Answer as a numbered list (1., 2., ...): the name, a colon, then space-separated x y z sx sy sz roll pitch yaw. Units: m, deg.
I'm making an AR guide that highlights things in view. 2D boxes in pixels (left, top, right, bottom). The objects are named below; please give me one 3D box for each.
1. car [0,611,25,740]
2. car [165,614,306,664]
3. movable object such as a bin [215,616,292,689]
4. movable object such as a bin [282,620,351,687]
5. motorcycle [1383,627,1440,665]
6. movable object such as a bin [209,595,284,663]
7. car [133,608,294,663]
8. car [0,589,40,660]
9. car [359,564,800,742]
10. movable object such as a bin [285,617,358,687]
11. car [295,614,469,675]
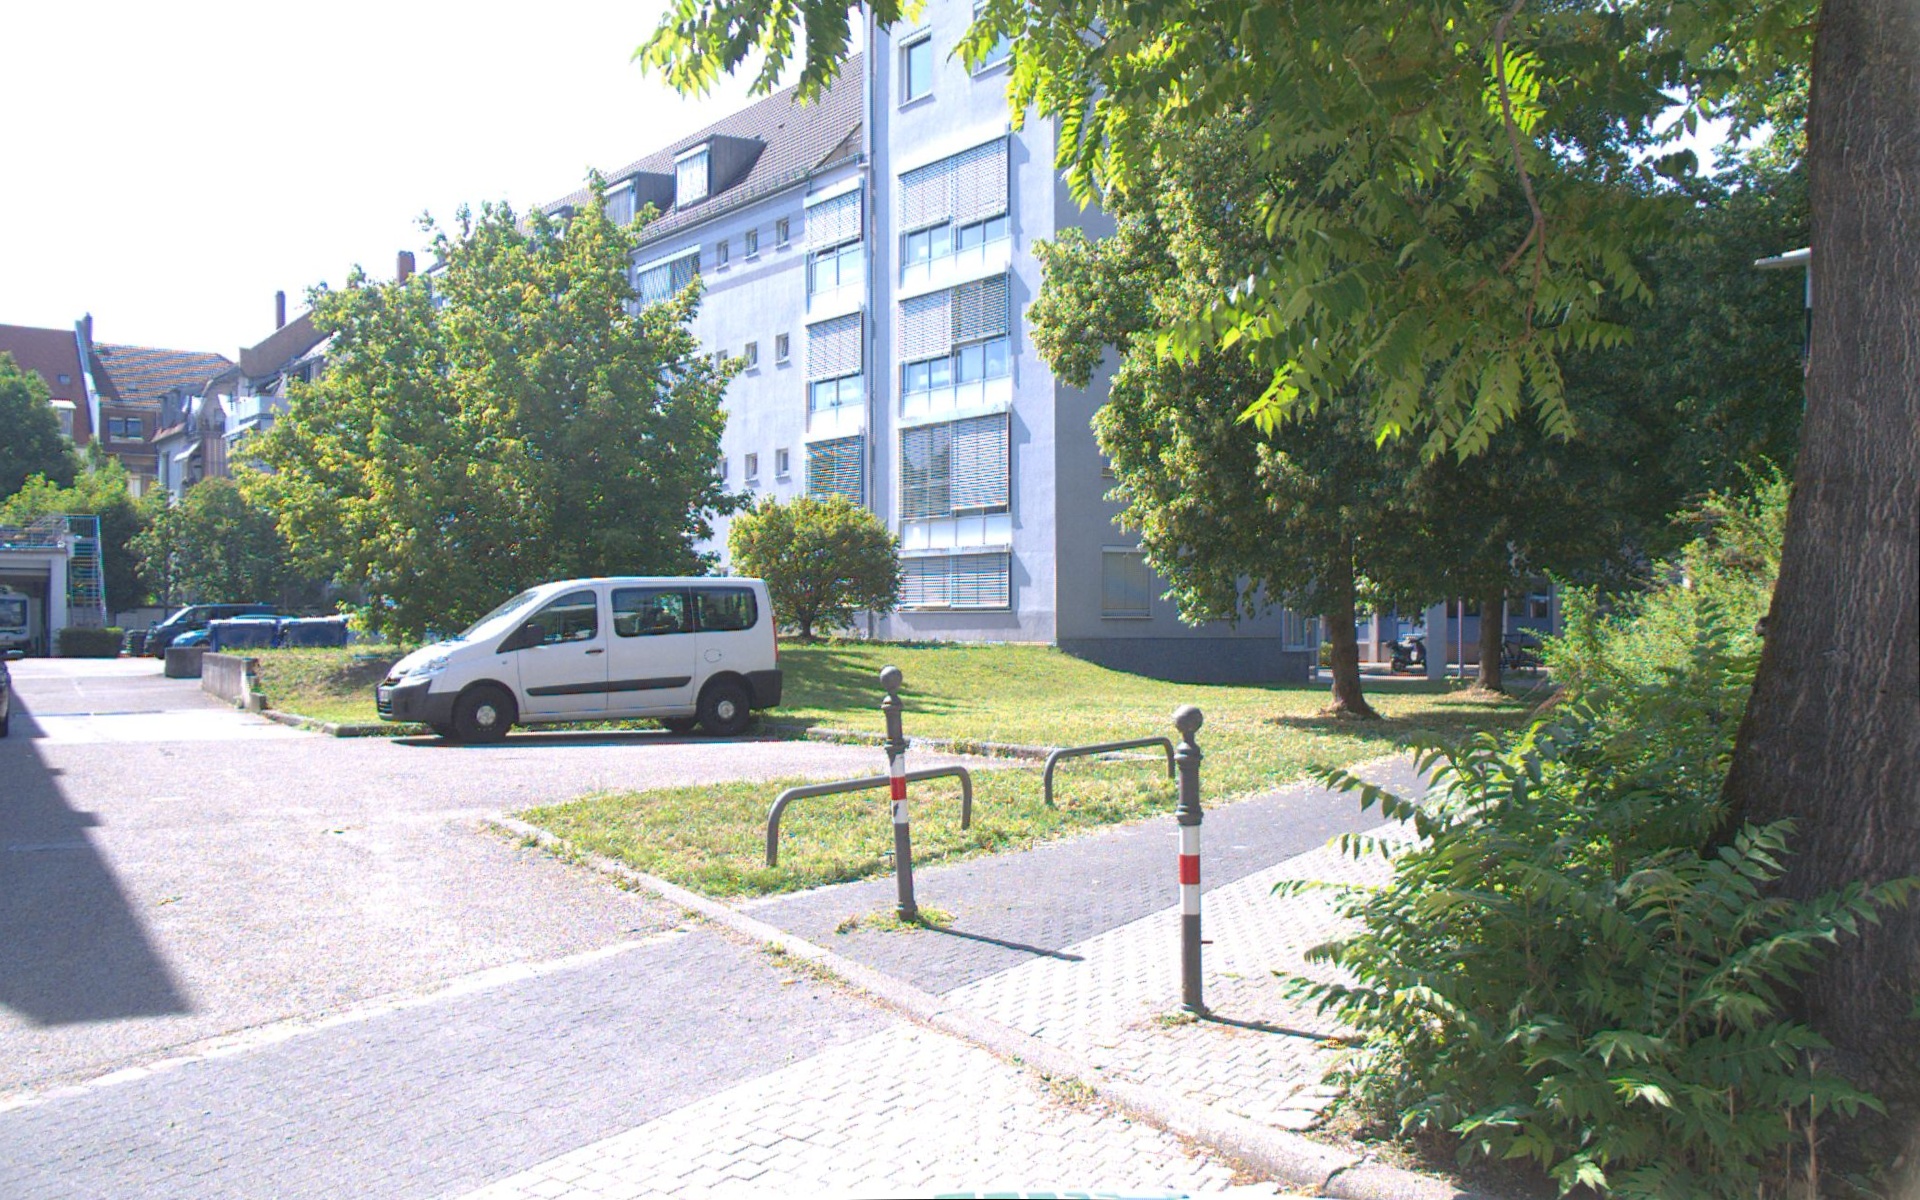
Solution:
1. car: -12.667 0.930 20.340 1.819 1.467 4.380 2 -3 -32
2. car: -25.245 1.335 57.653 4.194 1.559 1.975 -1 1 -35
3. movable object such as a bin: -13.937 1.034 32.622 1.234 1.342 1.131 -2 -1 -30
4. movable object such as a bin: -13.647 1.118 35.074 1.145 1.360 1.128 -1 -1 -35
5. motorcycle: 15.358 1.561 56.255 2.035 1.268 0.623 0 0 -31
6. movable object such as a bin: -14.772 0.594 34.255 1.237 1.379 1.115 -1 -1 -35
7. car: -27.151 1.256 60.257 4.931 1.798 2.062 -1 1 -45
8. car: -37.487 0.989 64.932 2.152 2.652 6.662 -1 -1 -31
9. car: -4.629 0.591 20.369 4.972 1.967 1.979 0 -1 -31
10. movable object such as a bin: -12.881 1.037 33.337 1.233 1.364 1.131 -1 -1 -29
11. car: -15.028 1.125 43.076 3.953 1.452 1.790 -1 0 -35
